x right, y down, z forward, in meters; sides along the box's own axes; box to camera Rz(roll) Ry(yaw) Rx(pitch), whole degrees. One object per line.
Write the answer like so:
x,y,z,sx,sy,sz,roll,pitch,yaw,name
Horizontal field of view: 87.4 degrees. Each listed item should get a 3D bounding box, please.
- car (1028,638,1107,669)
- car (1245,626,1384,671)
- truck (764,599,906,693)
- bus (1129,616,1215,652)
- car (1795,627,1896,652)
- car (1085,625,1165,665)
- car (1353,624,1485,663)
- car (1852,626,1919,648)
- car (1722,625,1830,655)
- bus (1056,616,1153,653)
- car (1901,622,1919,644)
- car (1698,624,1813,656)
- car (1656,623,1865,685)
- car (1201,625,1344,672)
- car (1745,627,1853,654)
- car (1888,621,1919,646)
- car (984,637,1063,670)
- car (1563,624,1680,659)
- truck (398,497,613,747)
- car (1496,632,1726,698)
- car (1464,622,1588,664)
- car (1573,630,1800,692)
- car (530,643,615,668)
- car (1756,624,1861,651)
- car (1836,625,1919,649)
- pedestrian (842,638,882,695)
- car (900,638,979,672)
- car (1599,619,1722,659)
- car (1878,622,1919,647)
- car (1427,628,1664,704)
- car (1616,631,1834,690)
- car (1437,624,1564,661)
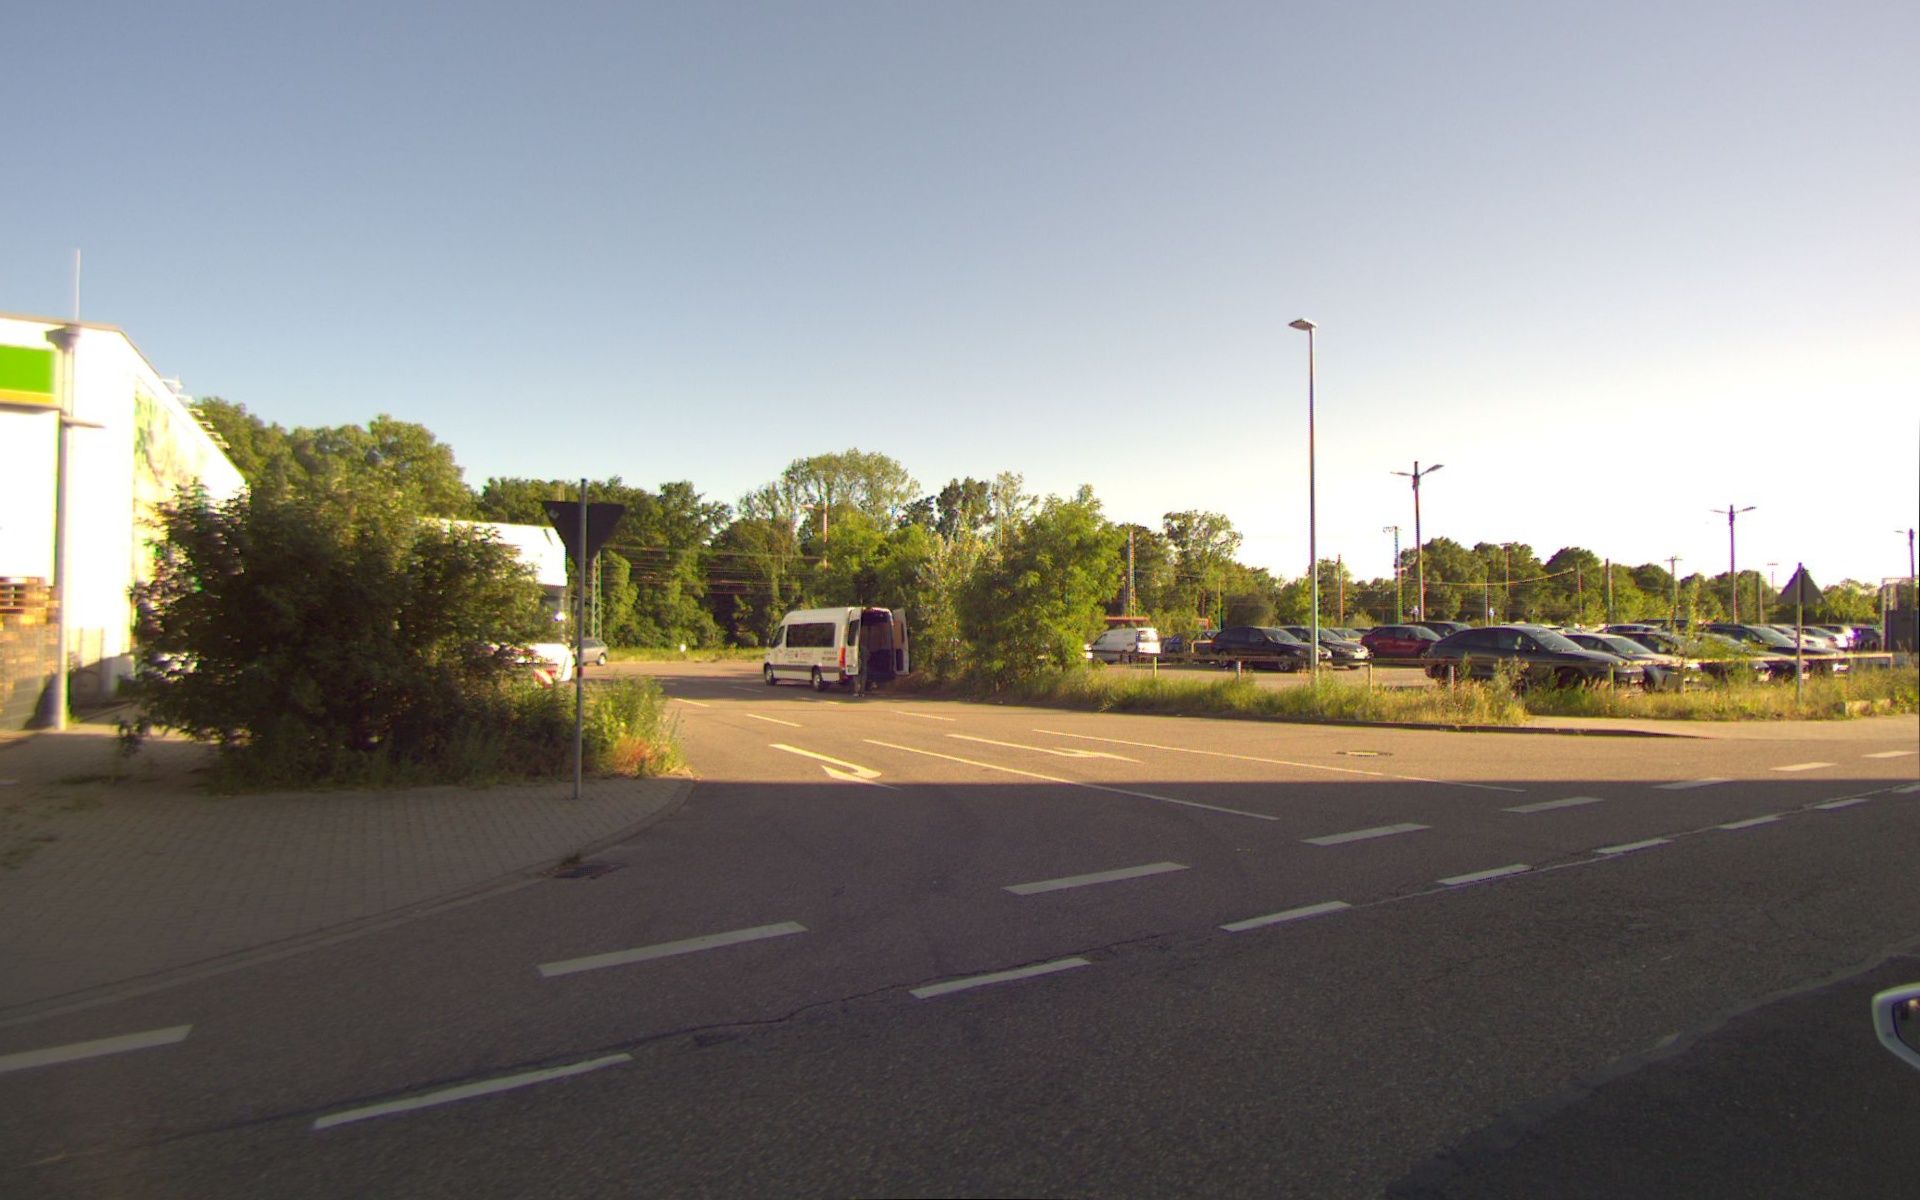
5.323,2.644,50.169,1.842,1.484,3.983,1,-2,-33,car
12.572,1.687,35.878,2.027,1.484,4.376,1,-2,-33,car
-4.318,1.513,33.540,2.290,2.844,6.463,1,-2,-31,truck
14.703,2.357,69.635,5.521,2.379,2.529,1,-2,-29,bus
53.820,2.355,61.120,1.856,1.438,4.301,0,-1,-30,car
8.330,2.242,51.076,1.842,1.944,3.983,1,-2,-33,car
17.411,1.625,38.287,2.027,1.415,4.136,1,-2,-33,car
60.874,2.391,65.057,1.856,1.394,4.301,0,-1,-30,car
45.054,2.180,55.544,1.855,1.544,4.303,0,-1,-29,car
9.651,2.279,66.790,6.129,2.379,2.529,1,-2,-29,bus
68.948,2.337,70.500,1.856,1.540,3.864,0,-1,-31,car
42.973,2.132,54.391,1.835,1.606,4.556,0,-1,-29,car
23.480,1.543,29.648,2.023,1.692,4.410,1,-2,-29,car
10.506,1.599,34.051,2.027,1.484,4.376,1,-2,-33,car
47.322,2.266,56.734,1.855,1.412,4.303,0,-1,-29,car
65.480,2.257,67.799,1.856,1.625,3.864,0,-1,-31,car
3.049,2.572,49.009,1.842,1.484,3.983,1,-2,-33,car
31.524,1.938,47.974,1.835,1.566,4.348,0,-1,-29,car
-9.340,0.445,19.792,2.744,3.662,10.049,2,-2,-31,truck
16.073,1.548,25.073,2.023,1.481,4.410,1,-2,-29,car
23.730,1.785,42.283,1.945,1.684,4.137,1,-2,-33,car
18.970,1.539,26.455,2.023,1.481,4.410,1,-2,-29,car
-20.012,2.846,52.081,1.670,1.230,4.424,-1,-2,19,car
49.291,2.165,58.427,1.855,1.482,4.303,0,-1,-29,car
58.547,2.309,63.562,1.856,1.394,4.301,0,-1,-30,car
-2.953,1.980,30.278,0.904,1.661,0.924,1,-2,-29,pedestrian
-0.990,2.487,46.243,1.842,1.484,3.983,1,-2,-33,car
33.841,1.845,48.658,1.835,1.829,4.556,0,-1,-29,car
63.380,2.278,66.250,1.856,1.625,3.864,0,-1,-31,car
13.598,1.464,23.619,2.023,1.601,4.410,1,-2,-29,car
21.091,1.616,27.901,2.023,1.481,4.410,1,-2,-29,car
21.912,1.708,40.864,2.027,1.415,4.136,1,-2,-33,car
